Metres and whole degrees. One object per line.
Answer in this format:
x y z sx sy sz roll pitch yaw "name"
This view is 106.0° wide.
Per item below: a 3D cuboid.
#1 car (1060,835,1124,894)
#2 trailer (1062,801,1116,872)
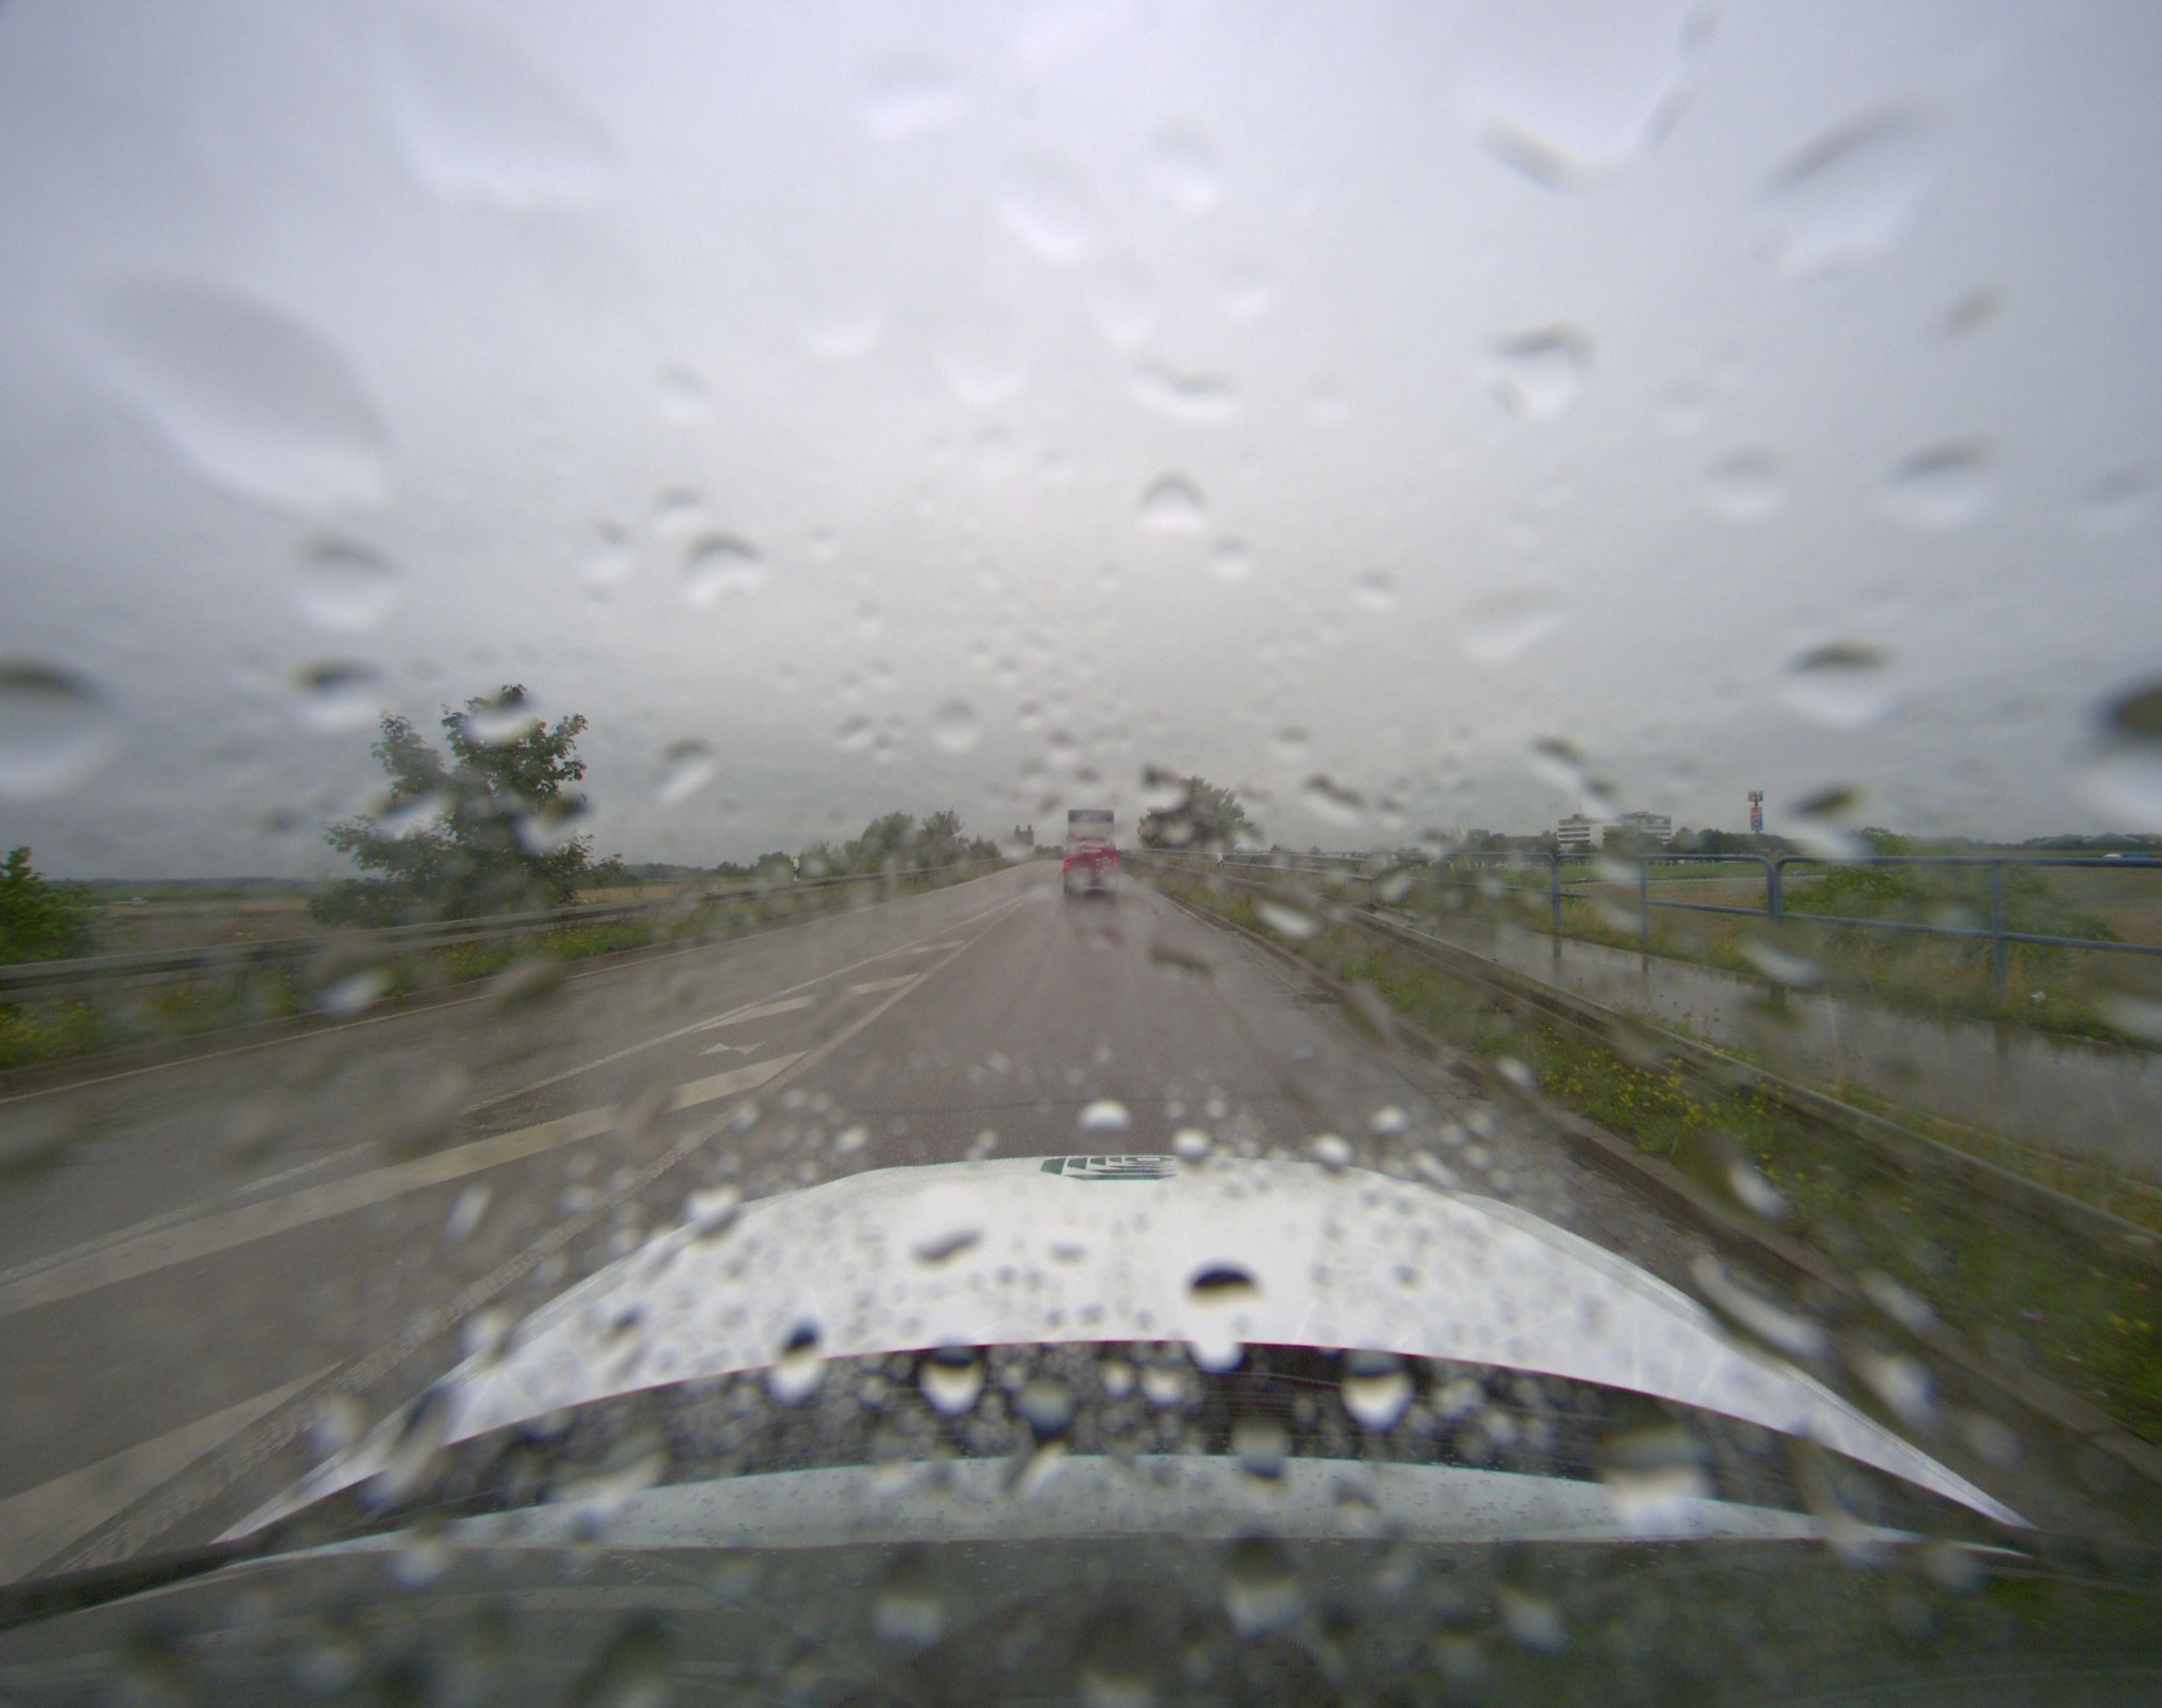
0.412 0.326 28.894 1.986 1.870 4.980 -2 0 1 "car"
0.561 -0.941 49.372 2.821 3.819 9.717 -2 0 1 "trailer"
